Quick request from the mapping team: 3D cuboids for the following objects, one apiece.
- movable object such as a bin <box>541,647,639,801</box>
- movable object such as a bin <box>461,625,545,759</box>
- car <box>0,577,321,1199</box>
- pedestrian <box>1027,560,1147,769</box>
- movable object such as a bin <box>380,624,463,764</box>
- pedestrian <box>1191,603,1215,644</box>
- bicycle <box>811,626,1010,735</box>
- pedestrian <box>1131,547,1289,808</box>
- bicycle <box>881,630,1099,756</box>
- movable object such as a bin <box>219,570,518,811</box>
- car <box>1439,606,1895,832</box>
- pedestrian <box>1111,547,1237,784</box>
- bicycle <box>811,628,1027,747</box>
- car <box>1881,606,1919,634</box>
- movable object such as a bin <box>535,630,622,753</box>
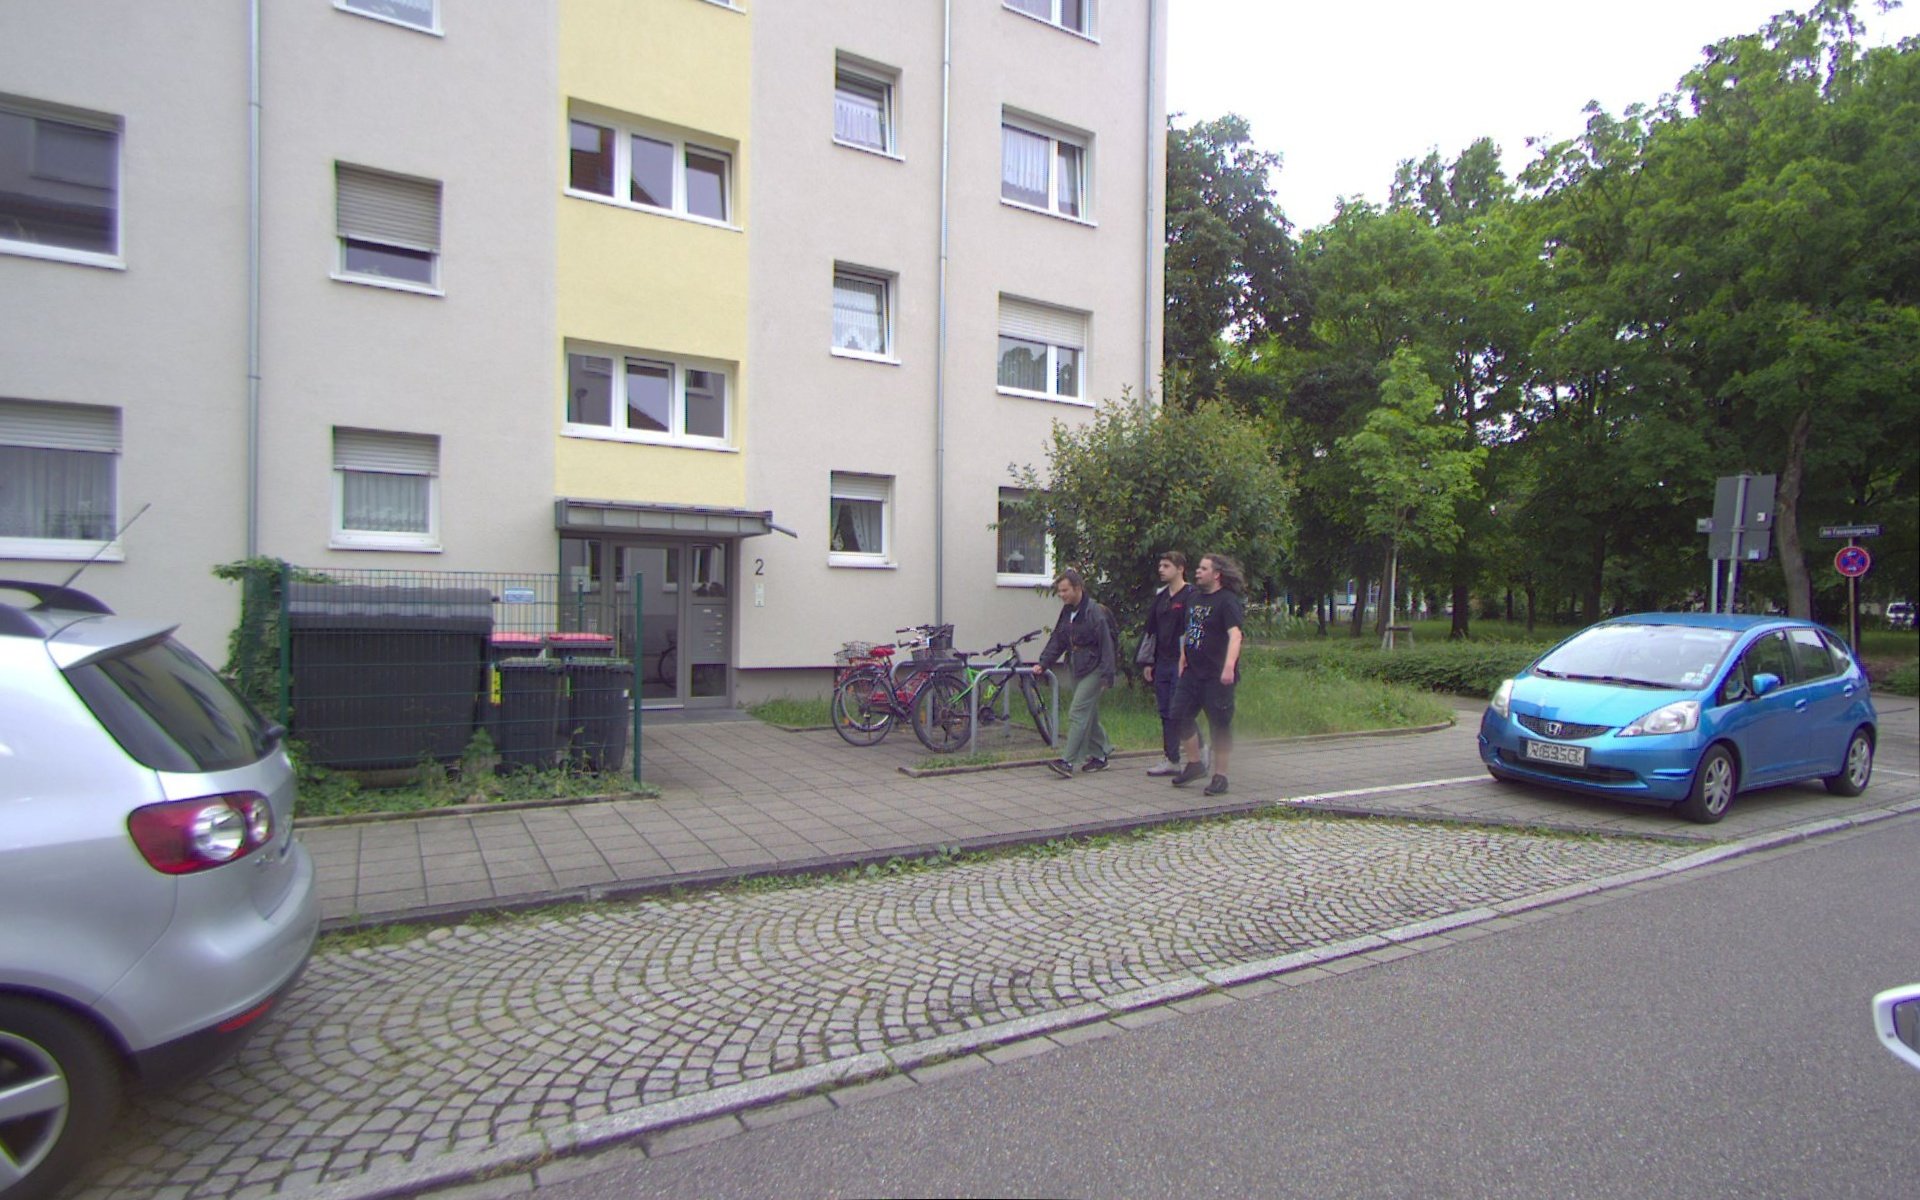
[{"bbox_3d":[-2.737,0.888,7.416,0.591,1.047,0.534,0,0,-32],"label":"movable object such as a bin"},{"bbox_3d":[-4.184,0.810,9.179,0.591,1.131,0.837,0,0,-32],"label":"movable object such as a bin"},{"bbox_3d":[-3.931,0.709,2.484,3.869,1.571,1.646,0,1,-30],"label":"car"},{"bbox_3d":[1.073,0.519,8.525,0.794,1.679,0.611,0,0,-30],"label":"pedestrian"},{"bbox_3d":[-4.737,0.789,8.823,0.591,1.131,0.837,0,0,-32],"label":"movable object such as a bin"},{"bbox_3d":[9.643,0.918,39.868,0.648,1.604,0.693,0,1,-28],"label":"pedestrian"},{"bbox_3d":[-0.522,0.848,11.103,2.149,1.085,0.654,0,0,-30],"label":"bicycle"},{"bbox_3d":[1.928,0.558,7.764,0.963,1.889,0.637,0,2,-30],"label":"pedestrian"},{"bbox_3d":[0.313,0.854,9.767,2.096,1.082,0.654,0,0,-30],"label":"bicycle"},{"bbox_3d":[-4.134,0.543,7.127,1.652,1.440,1.581,0,0,-31],"label":"movable object such as a bin"},{"bbox_3d":[6.138,0.841,8.645,3.911,1.482,1.721,1,2,-31],"label":"car"},{"bbox_3d":[1.800,0.526,8.478,0.754,1.879,0.703,0,0,-30],"label":"pedestrian"},{"bbox_3d":[-0.387,0.844,10.235,2.149,1.085,0.654,0,0,-30],"label":"bicycle"},{"bbox_3d":[58.561,1.227,61.847,3.958,1.639,1.906,1,0,-34],"label":"car"},{"bbox_3d":[-3.606,0.829,9.471,0.627,1.065,0.859,0,0,-31],"label":"movable object such as a bin"}]
